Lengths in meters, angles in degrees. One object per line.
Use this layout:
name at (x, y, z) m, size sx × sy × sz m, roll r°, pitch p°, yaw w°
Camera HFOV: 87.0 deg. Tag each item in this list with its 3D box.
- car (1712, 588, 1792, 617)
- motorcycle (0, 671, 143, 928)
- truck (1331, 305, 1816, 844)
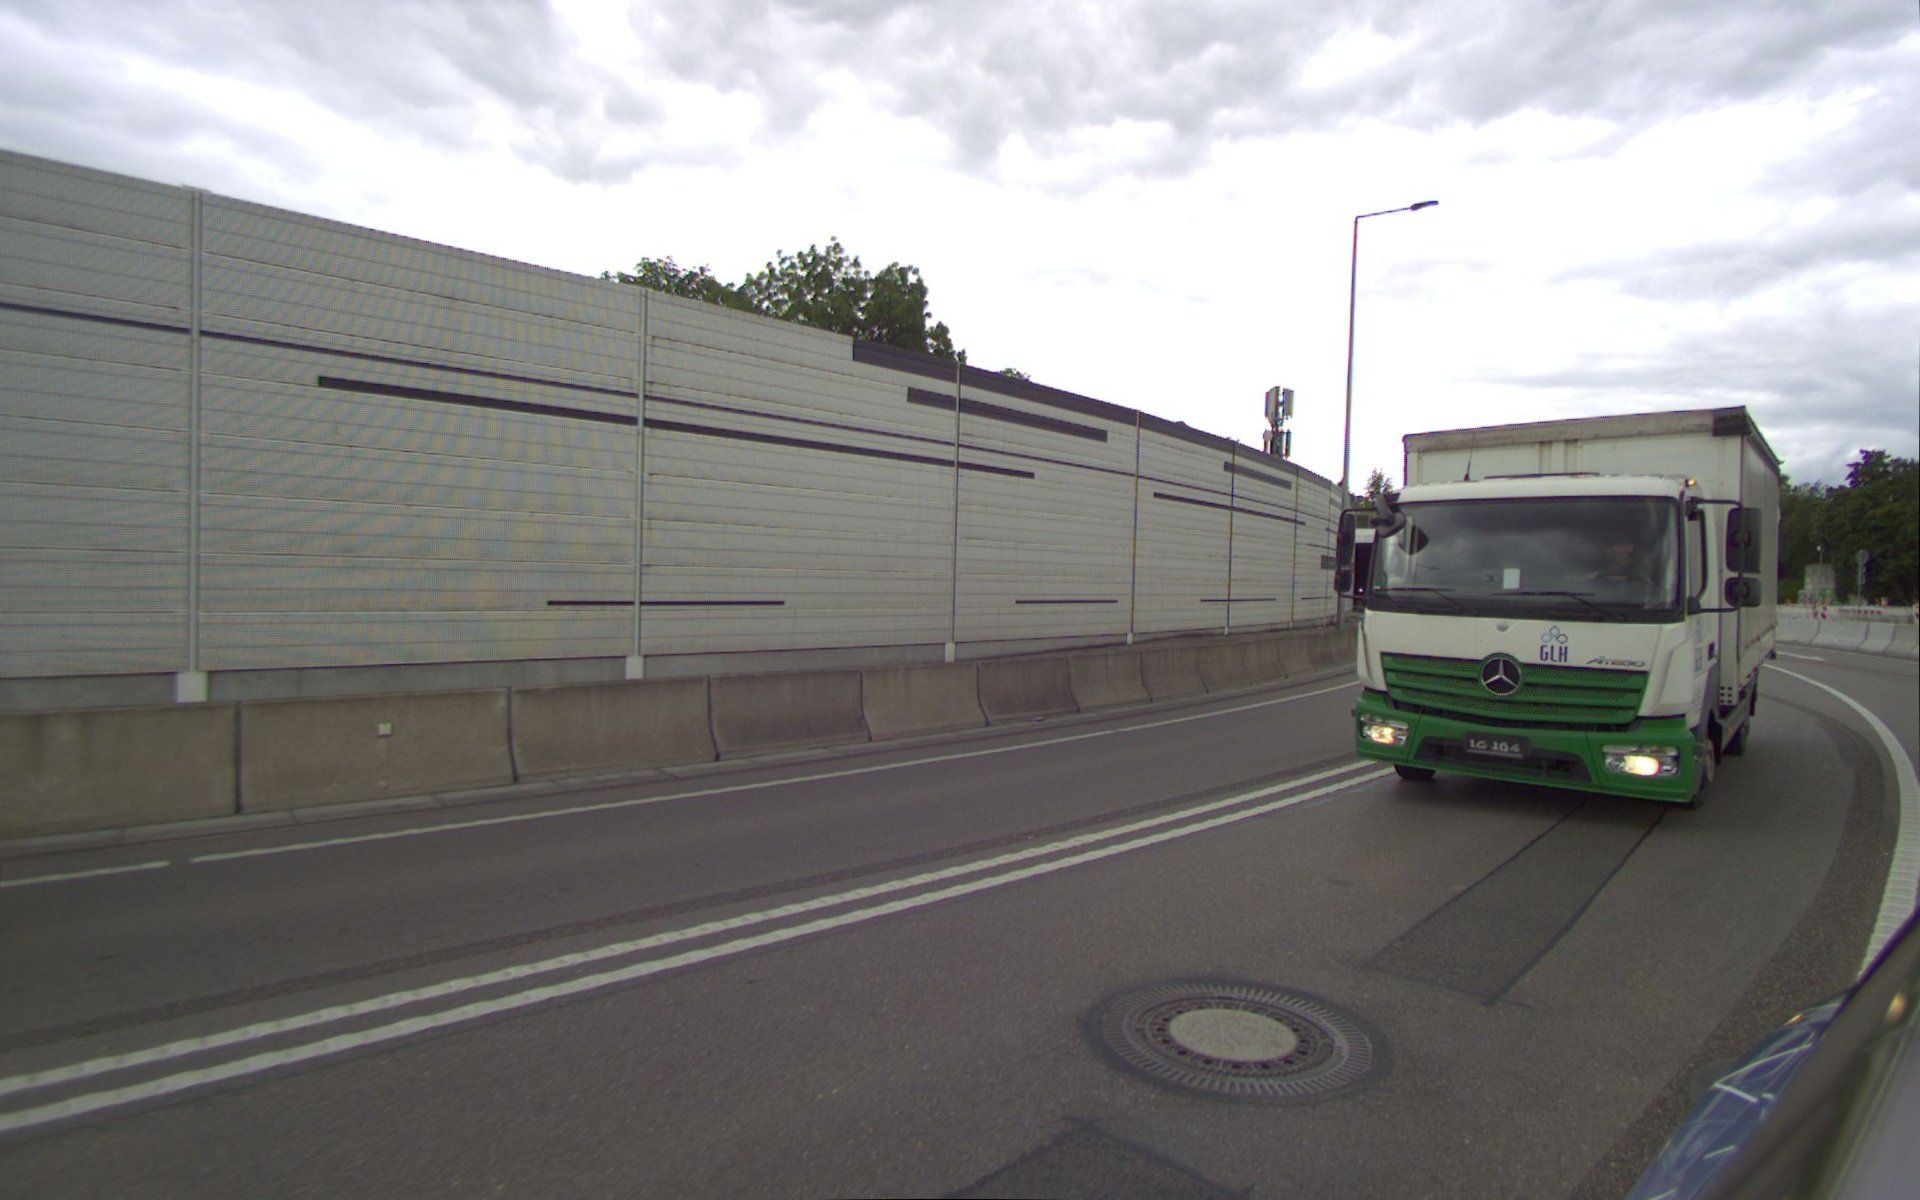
car at (50.037, 0.145, 64.050) m, size 1.969 × 1.717 × 4.910 m, roll 1°, pitch 1°, yaw 12°
motorcycle at (-5.224, 0.965, 4.315) m, size 0.743 × 1.097 × 2.626 m, roll 2°, pitch 2°, yaw 40°
truck at (6.337, -0.180, 9.749) m, size 2.629 × 3.280 × 7.301 m, roll 0°, pitch 0°, yaw 43°
